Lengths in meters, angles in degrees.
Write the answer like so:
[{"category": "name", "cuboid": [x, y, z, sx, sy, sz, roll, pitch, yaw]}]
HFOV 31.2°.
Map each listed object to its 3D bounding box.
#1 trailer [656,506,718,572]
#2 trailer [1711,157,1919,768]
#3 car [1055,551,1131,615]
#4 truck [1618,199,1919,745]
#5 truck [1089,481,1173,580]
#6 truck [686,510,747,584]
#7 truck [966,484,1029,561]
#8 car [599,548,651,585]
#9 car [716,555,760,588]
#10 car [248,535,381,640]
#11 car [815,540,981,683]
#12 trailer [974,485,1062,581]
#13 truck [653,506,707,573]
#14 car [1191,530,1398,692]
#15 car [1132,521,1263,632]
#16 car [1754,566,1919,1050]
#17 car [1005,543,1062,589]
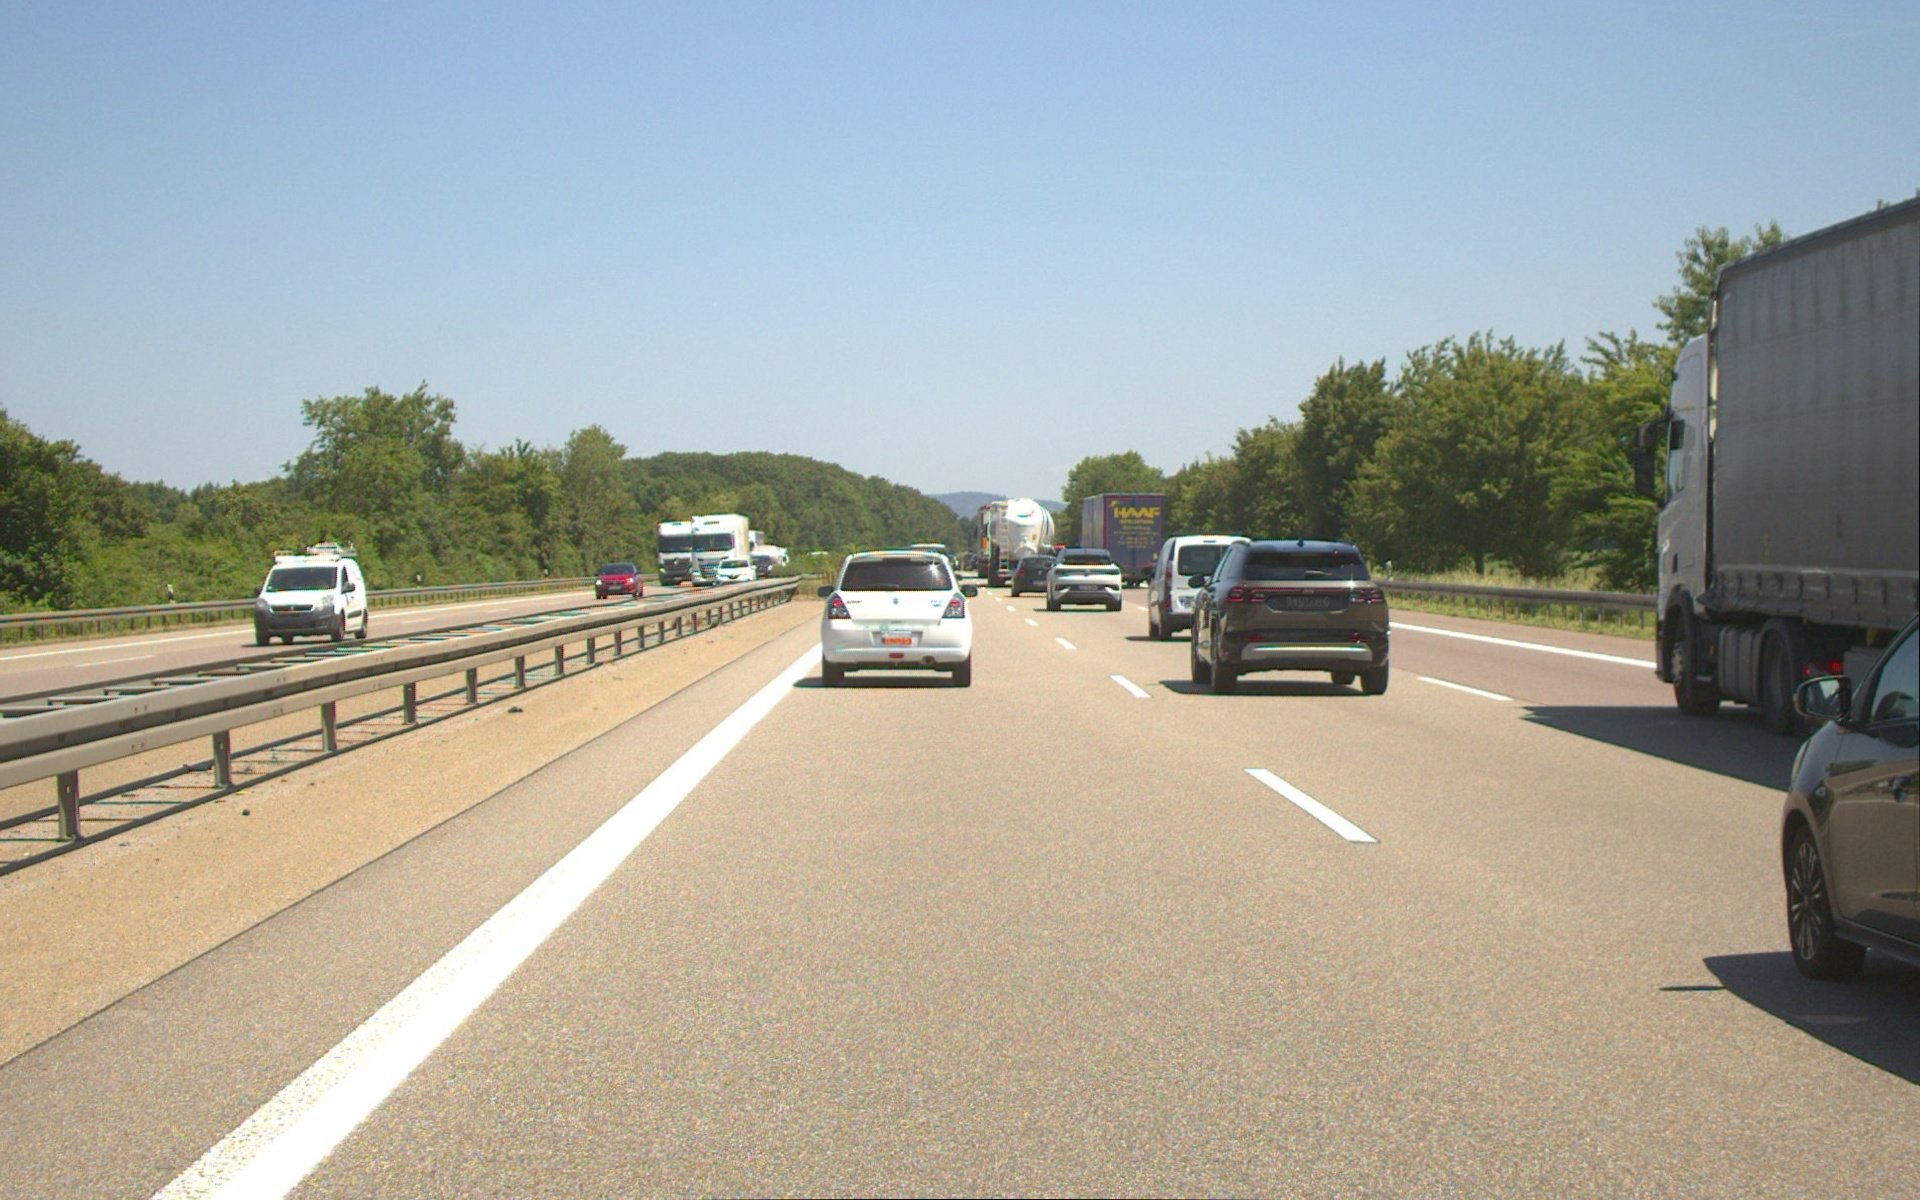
[{"category": "trailer", "cuboid": [-17.944, -3.967, 226.721, 2.757, 4.089, 14.053, -3, 1, 0]}, {"category": "trailer", "cuboid": [8.152, -0.944, 23.152, 2.810, 4.290, 14.255, 1, 1, -1]}, {"category": "car", "cuboid": [3.454, -0.463, 89.832, 1.802, 1.597, 4.381, 1, 1, 0]}, {"category": "truck", "cuboid": [8.056, -1.037, 30.704, 2.810, 4.290, 7.193, 1, 1, -1]}, {"category": "truck", "cuboid": [7.438, -3.007, 151.605, 3.109, 4.124, 15.511, 1, 1, 1]}, {"category": "truck", "cuboid": [-13.954, -3.049, 197.384, 2.740, 4.071, 6.217, -2, 1, 1]}, {"category": "truck", "cuboid": [2.137, -4.339, 195.574, 3.394, 4.199, 12.083, 1, 1, 1]}, {"category": "car", "cuboid": [-13.910, -1.390, 142.761, 1.772, 1.412, 4.111, -3, 1, -1]}, {"category": "car", "cuboid": [-10.016, -1.294, 155.230, 1.719, 1.417, 3.898, -3, 1, -1]}, {"category": "car", "cuboid": [-13.301, -0.278, 71.063, 1.788, 2.007, 4.380, -3, 1, 1]}, {"category": "car", "cuboid": [-0.707, 0.099, 39.499, 1.799, 1.546, 3.610, 1, 1, -1]}, {"category": "trailer", "cuboid": [2.511, -2.918, 152.857, 2.911, 4.055, 12.420, 1, 1, -3]}, {"category": "truck", "cuboid": [-17.947, -3.890, 220.755, 2.757, 4.089, 6.152, -3, 1, 0]}, {"category": "car", "cuboid": [3.646, 0.083, 38.230, 1.867, 1.669, 4.746, 1, 1, 1]}, {"category": "car", "cuboid": [4.131, -0.431, 60.383, 1.853, 1.856, 4.702, 1, 1, -1]}, {"category": "car", "cuboid": [3.768, 0.644, 10.720, 1.687, 1.468, 3.433, 1, 1, -2]}, {"category": "car", "cuboid": [2.506, -1.168, 117.756, 1.850, 1.518, 3.957, 1, 1, 0]}]
